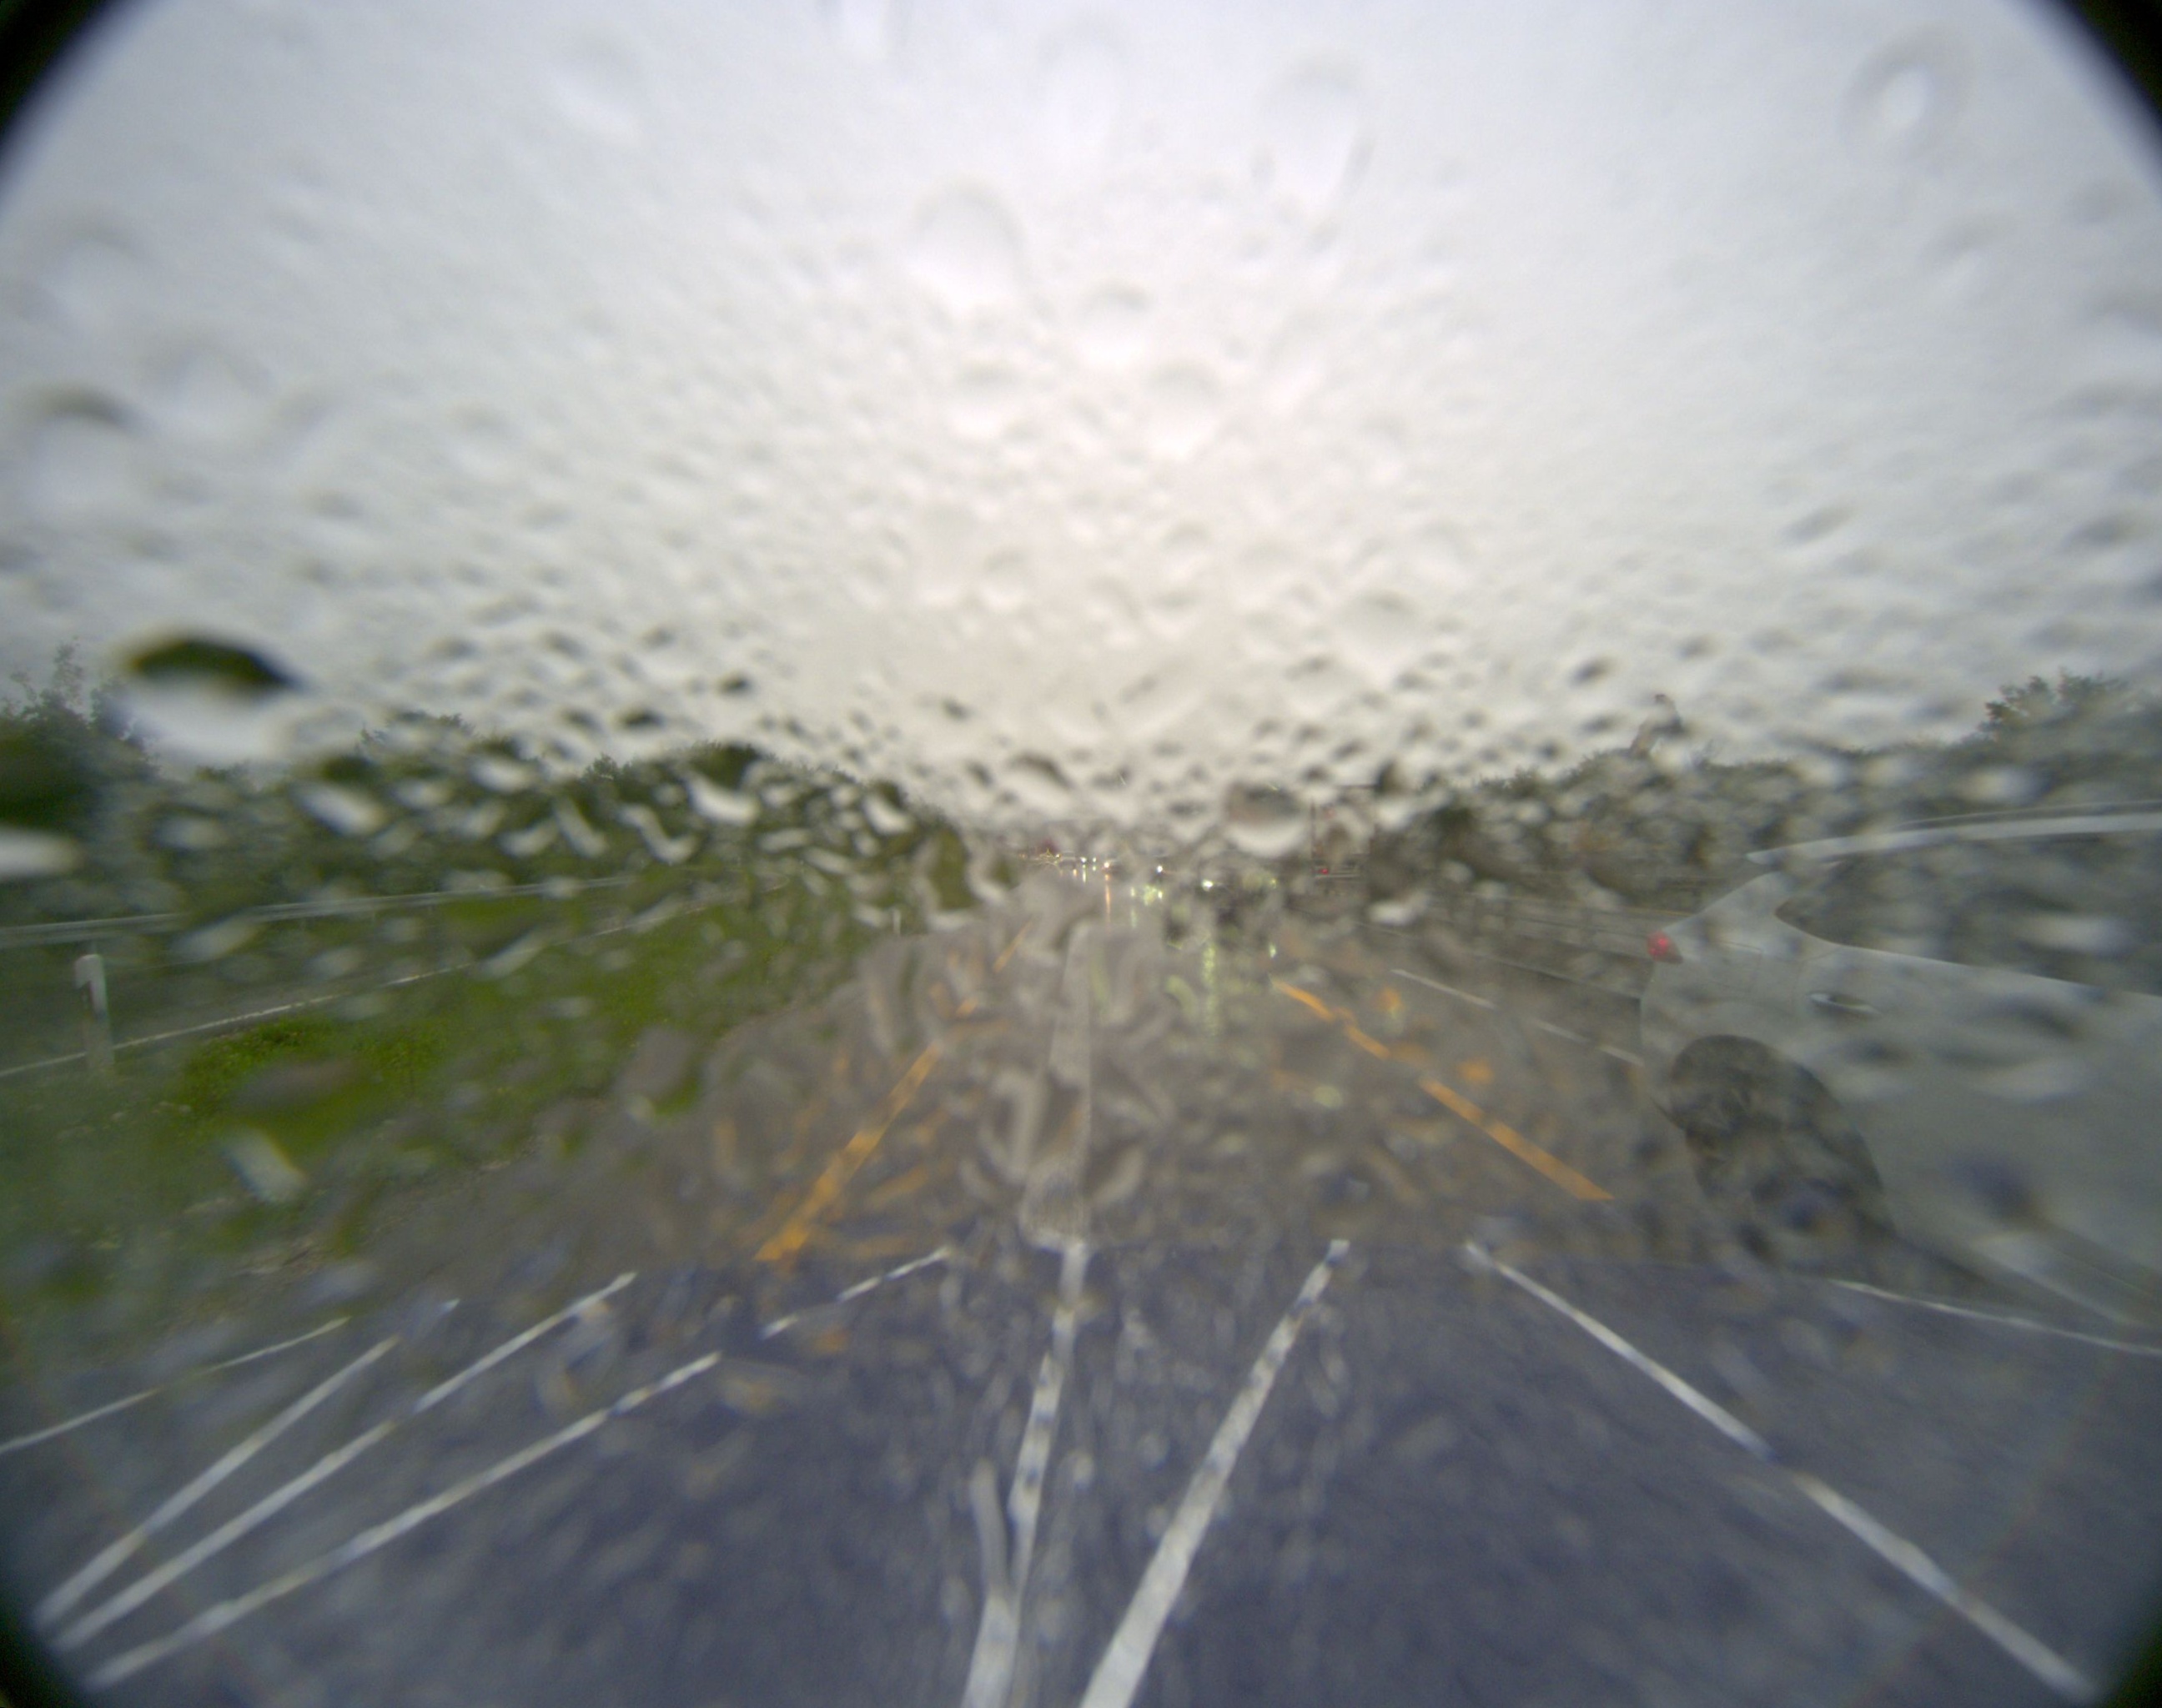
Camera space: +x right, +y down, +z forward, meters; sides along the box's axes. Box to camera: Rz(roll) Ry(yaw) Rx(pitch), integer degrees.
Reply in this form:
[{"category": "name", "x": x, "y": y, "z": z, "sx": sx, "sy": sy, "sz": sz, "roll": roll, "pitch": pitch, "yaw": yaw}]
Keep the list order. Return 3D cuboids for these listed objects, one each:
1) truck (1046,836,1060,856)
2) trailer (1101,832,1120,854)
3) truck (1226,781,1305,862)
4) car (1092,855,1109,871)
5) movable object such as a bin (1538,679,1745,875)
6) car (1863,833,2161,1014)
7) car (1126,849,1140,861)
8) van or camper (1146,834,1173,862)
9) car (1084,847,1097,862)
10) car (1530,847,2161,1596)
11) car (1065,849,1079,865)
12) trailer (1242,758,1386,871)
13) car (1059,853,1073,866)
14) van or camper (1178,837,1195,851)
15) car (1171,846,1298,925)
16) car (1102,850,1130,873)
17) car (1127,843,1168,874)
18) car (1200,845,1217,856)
[{"category": "truck", "x": -5.831, "y": -1.710, "z": 159.873, "sx": 2.507, "sy": 4.067, "sz": 15.196, "roll": -3, "pitch": 1, "yaw": -2}, {"category": "trailer", "x": 5.737, "y": -2.186, "z": 150.322, "sx": 2.984, "sy": 4.270, "sz": 11.056, "roll": -1, "pitch": 1, "yaw": -1}, {"category": "truck", "x": 10.319, "y": -1.764, "z": 43.090, "sx": 2.896, "sy": 4.208, "sz": 6.325, "roll": -1, "pitch": 1, "yaw": 0}, {"category": "car", "x": 1.927, "y": 0.860, "z": 76.806, "sx": 1.590, "sy": 1.528, "sz": 3.830, "roll": -1, "pitch": 1, "yaw": -1}, {"category": "movable object such as a bin", "x": 26.139, "y": -3.295, "z": 36.159, "sx": 3.605, "sy": 8.097, "sz": 8.306, "roll": -3, "pitch": 1, "yaw": 1}, {"category": "car", "x": 10.092, "y": 0.586, "z": 6.913, "sx": 1.612, "sy": 1.495, "sz": 4.216, "roll": -3, "pitch": 1, "yaw": 0}, {"category": "car", "x": 7.840, "y": 0.081, "z": 114.938, "sx": 1.640, "sy": 1.659, "sz": 4.542, "roll": -3, "pitch": 1, "yaw": 0}, {"category": "van or camper", "x": 9.249, "y": -0.738, "z": 89.906, "sx": 2.299, "sy": 3.024, "sz": 6.697, "roll": -3, "pitch": 1, "yaw": 0}, {"category": "car", "x": 1.420, "y": 0.022, "z": 111.337, "sx": 1.767, "sy": 2.002, "sz": 3.999, "roll": -3, "pitch": 1, "yaw": -1}, {"category": "car", "x": 3.270, "y": 0.799, "z": 1.410, "sx": 1.932, "sy": 1.542, "sz": 5.006, "roll": -2, "pitch": 1, "yaw": 1}, {"category": "car", "x": -1.059, "y": 0.360, "z": 89.019, "sx": 1.673, "sy": 1.804, "sz": 3.999, "roll": -1, "pitch": 1, "yaw": -1}, {"category": "trailer", "x": 10.286, "y": -1.623, "z": 35.564, "sx": 2.900, "sy": 4.262, "sz": 12.892, "roll": -1, "pitch": 1, "yaw": 1}, {"category": "car", "x": -2.167, "y": 0.848, "z": 110.429, "sx": 1.674, "sy": 1.804, "sz": 3.997, "roll": -1, "pitch": 1, "yaw": -5}, {"category": "van or camper", "x": 33.997, "y": -3.322, "z": 246.066, "sx": 3.377, "sy": 4.299, "sz": 8.501, "roll": -3, "pitch": 1, "yaw": -6}, {"category": "car", "x": 3.555, "y": 0.640, "z": 18.648, "sx": 2.069, "sy": 1.618, "sz": 5.195, "roll": -2, "pitch": 1, "yaw": 0}, {"category": "car", "x": 2.822, "y": 0.606, "z": 61.721, "sx": 1.881, "sy": 1.772, "sz": 3.998, "roll": -1, "pitch": 1, "yaw": -2}, {"category": "car", "x": 3.557, "y": 0.214, "z": 41.256, "sx": 1.792, "sy": 1.481, "sz": 3.999, "roll": -3, "pitch": 1, "yaw": 0}, {"category": "car", "x": 25.743, "y": -0.726, "z": 153.332, "sx": 2.100, "sy": 1.955, "sz": 5.362, "roll": -2, "pitch": 1, "yaw": -4}]
